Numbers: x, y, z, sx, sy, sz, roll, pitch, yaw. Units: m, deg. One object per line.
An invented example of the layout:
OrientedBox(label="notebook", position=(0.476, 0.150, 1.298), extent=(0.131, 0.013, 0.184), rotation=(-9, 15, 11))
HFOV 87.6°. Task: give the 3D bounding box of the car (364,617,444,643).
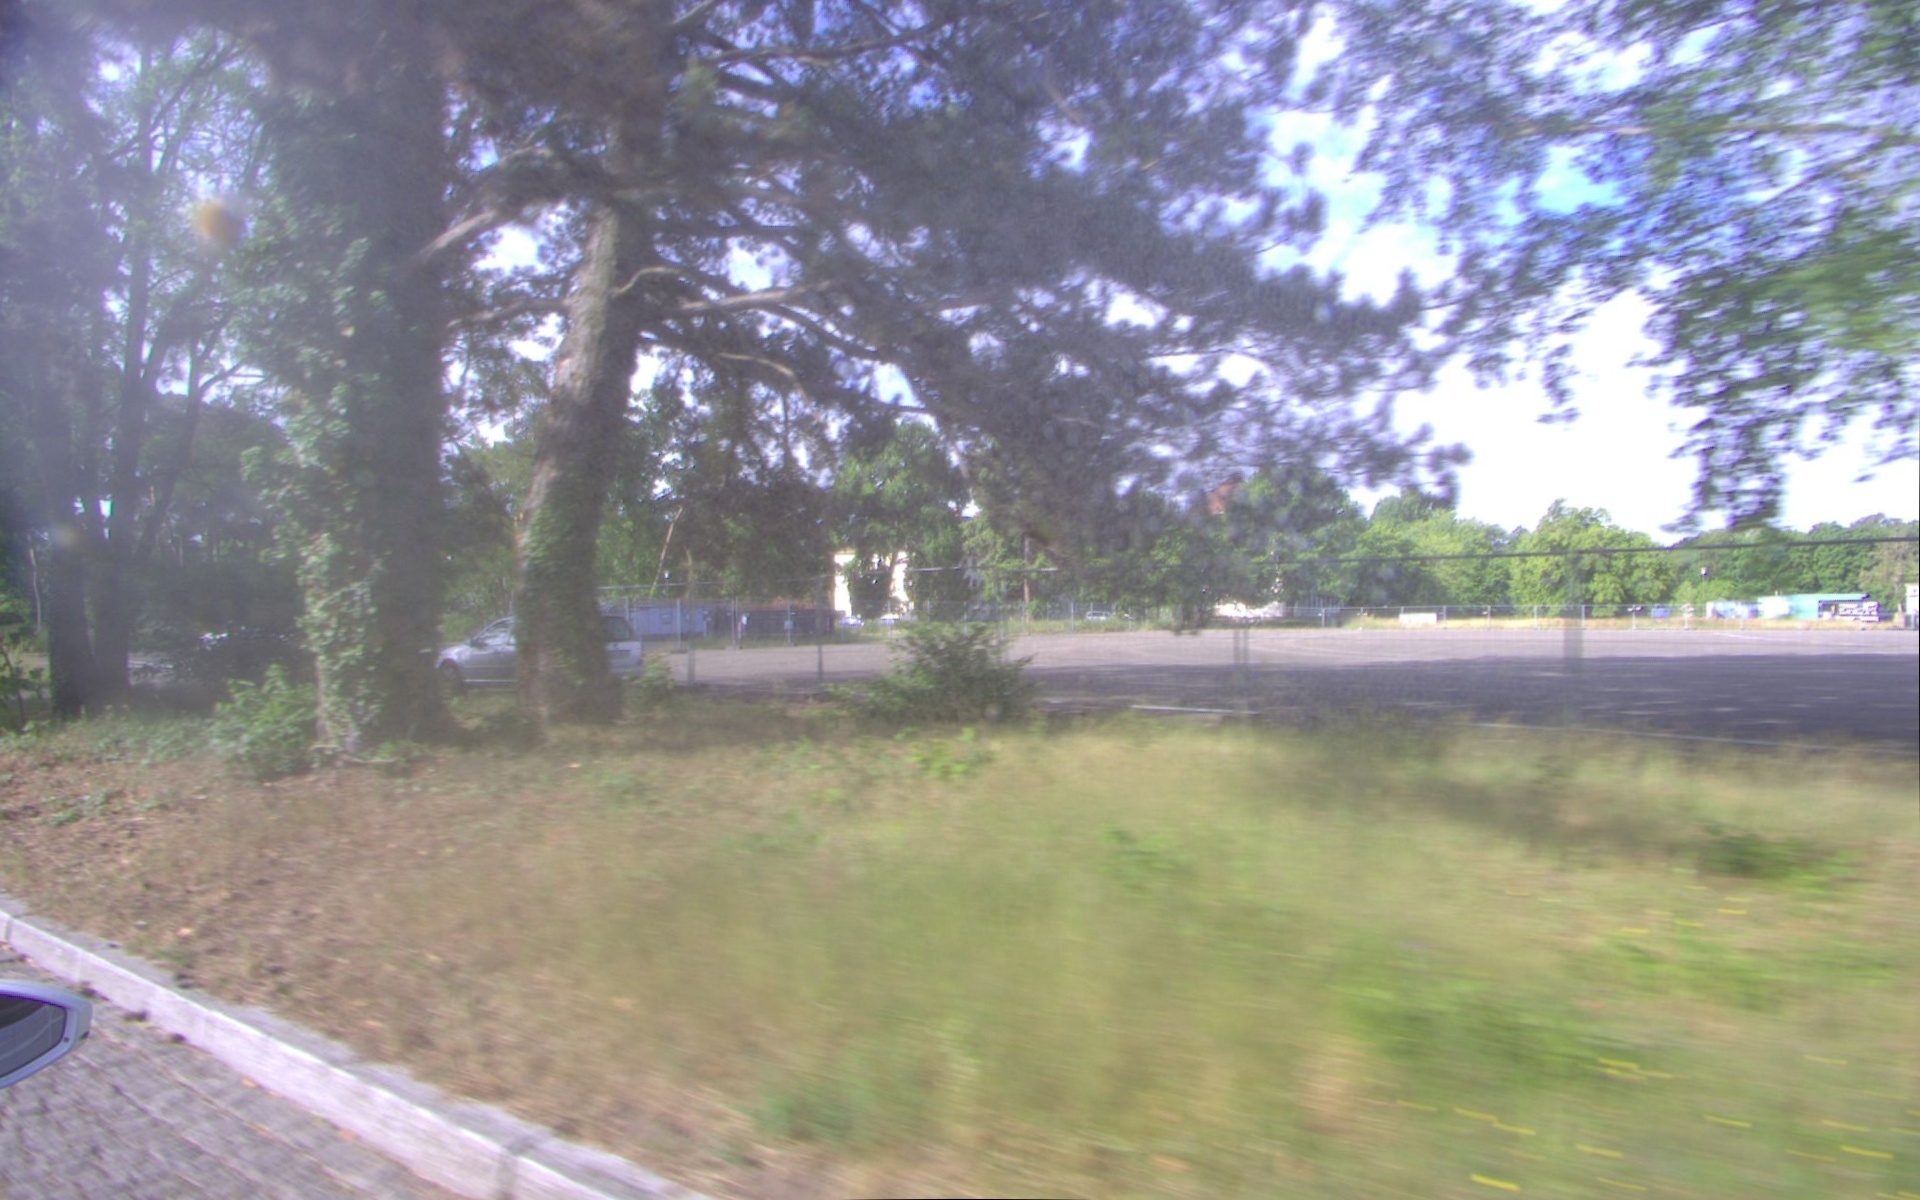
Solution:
OrientedBox(label="car", position=(-29.606, 1.581, 53.281), extent=(4.266, 1.329, 1.729), rotation=(-1, 0, 30))

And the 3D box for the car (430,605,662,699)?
OrientedBox(label="car", position=(-7.271, 0.859, 17.521), extent=(3.939, 1.487, 1.665), rotation=(-1, 0, 29))

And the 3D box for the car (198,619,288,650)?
OrientedBox(label="car", position=(-33.066, 1.557, 46.149), extent=(4.266, 1.329, 1.729), rotation=(-1, 0, 30))
